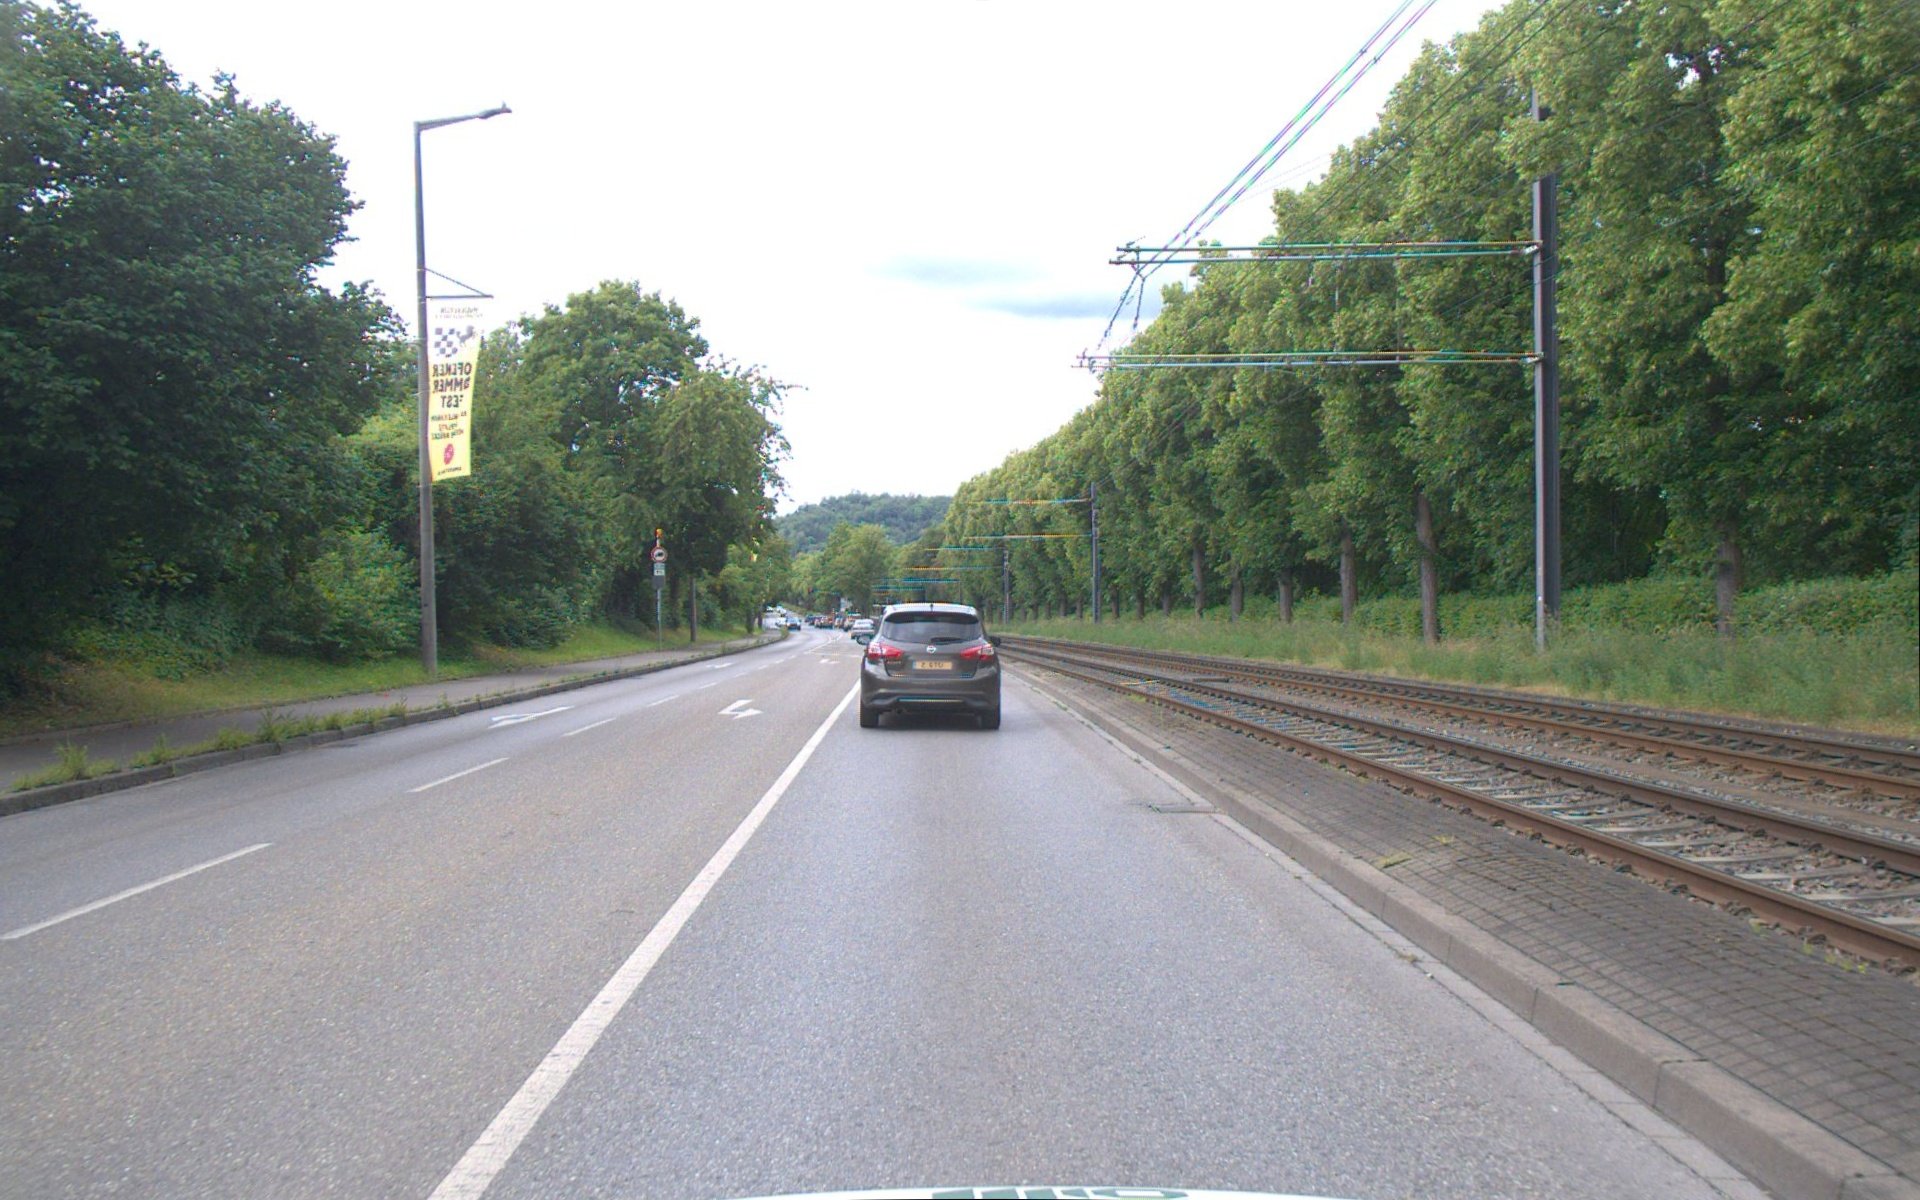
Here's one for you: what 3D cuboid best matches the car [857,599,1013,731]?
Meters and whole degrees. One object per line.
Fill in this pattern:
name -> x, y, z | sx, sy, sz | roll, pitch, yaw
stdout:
car -> -0.329, 0.771, 21.583 | 1.813, 1.519, 3.999 | 1, 0, -1

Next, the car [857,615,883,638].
car -> -6.053, 1.791, 111.602 | 1.666, 1.469, 3.997 | 0, -1, -3

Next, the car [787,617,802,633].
car -> -22.541, 3.392, 225.739 | 1.954, 2.072, 5.110 | 0, -1, -5

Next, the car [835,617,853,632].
car -> -12.375, 2.592, 176.239 | 1.758, 1.537, 3.997 | 0, -1, -3

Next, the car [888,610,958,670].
car -> -1.002, 1.027, 43.196 | 1.666, 1.469, 3.997 | 0, -1, -3

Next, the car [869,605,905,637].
car -> -3.440, 1.005, 77.968 | 1.666, 1.469, 3.997 | 0, -1, -3

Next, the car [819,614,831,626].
car -> -19.909, 2.990, 244.451 | 1.666, 1.744, 3.997 | 0, -1, -3
